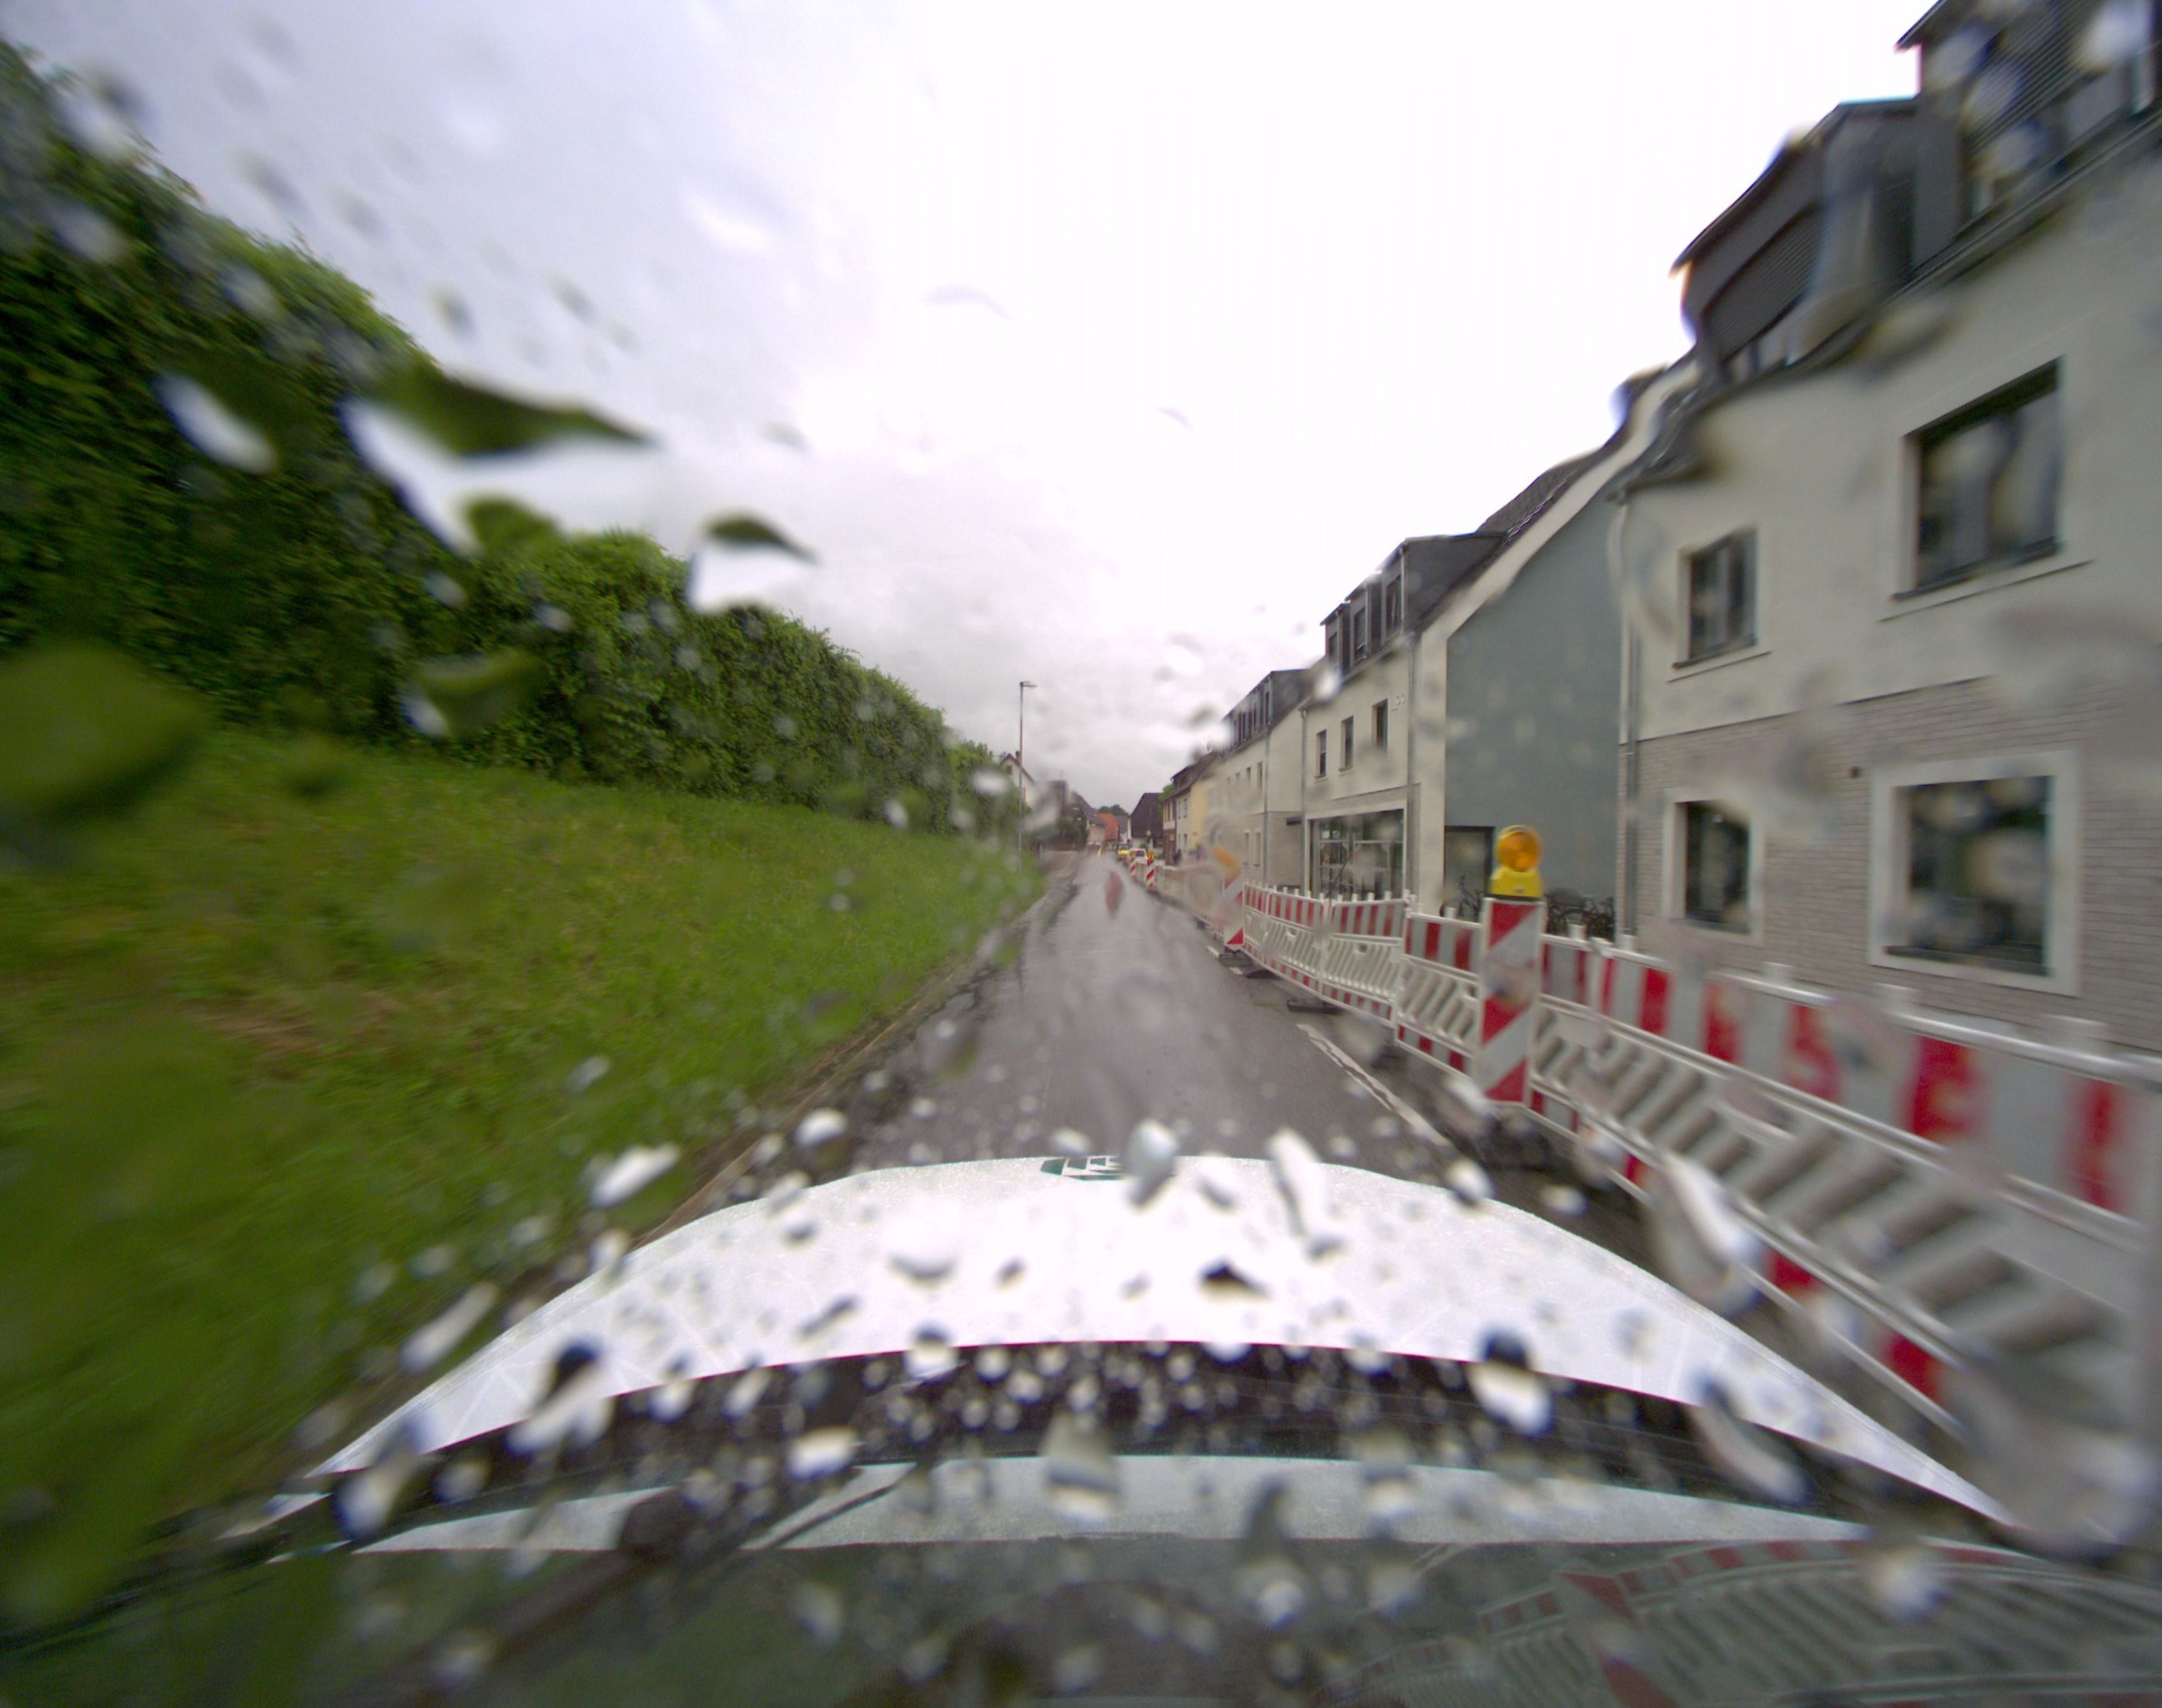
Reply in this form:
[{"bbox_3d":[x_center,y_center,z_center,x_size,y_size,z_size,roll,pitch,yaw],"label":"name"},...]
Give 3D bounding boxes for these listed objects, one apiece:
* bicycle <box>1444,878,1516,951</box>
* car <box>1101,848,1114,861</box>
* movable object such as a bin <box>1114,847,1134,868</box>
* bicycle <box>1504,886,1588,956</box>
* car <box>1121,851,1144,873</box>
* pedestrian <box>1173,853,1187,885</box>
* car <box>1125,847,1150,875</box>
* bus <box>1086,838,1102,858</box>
[{"bbox_3d":[7.432,1.087,15.238,0.516,1.220,1.790,2,0,3],"label":"bicycle"},{"bbox_3d":[3.659,0.099,113.228,1.811,1.642,4.096,2,0,1],"label":"car"},{"bbox_3d":[4.792,0.380,91.167,1.987,2.173,4.000,2,0,0],"label":"movable object such as a bin"},{"bbox_3d":[8.237,1.153,14.493,0.516,1.103,1.790,2,0,3],"label":"bicycle"},{"bbox_3d":[4.967,0.790,78.687,1.986,2.013,4.001,2,0,1],"label":"car"},{"bbox_3d":[5.596,0.845,46.112,0.663,1.755,0.812,2,0,0],"label":"pedestrian"},{"bbox_3d":[4.979,0.618,72.018,1.986,2.375,4.096,2,0,1],"label":"car"},{"bbox_3d":[2.169,-0.927,136.195,2.232,3.103,7.035,2,0,3],"label":"bus"}]
